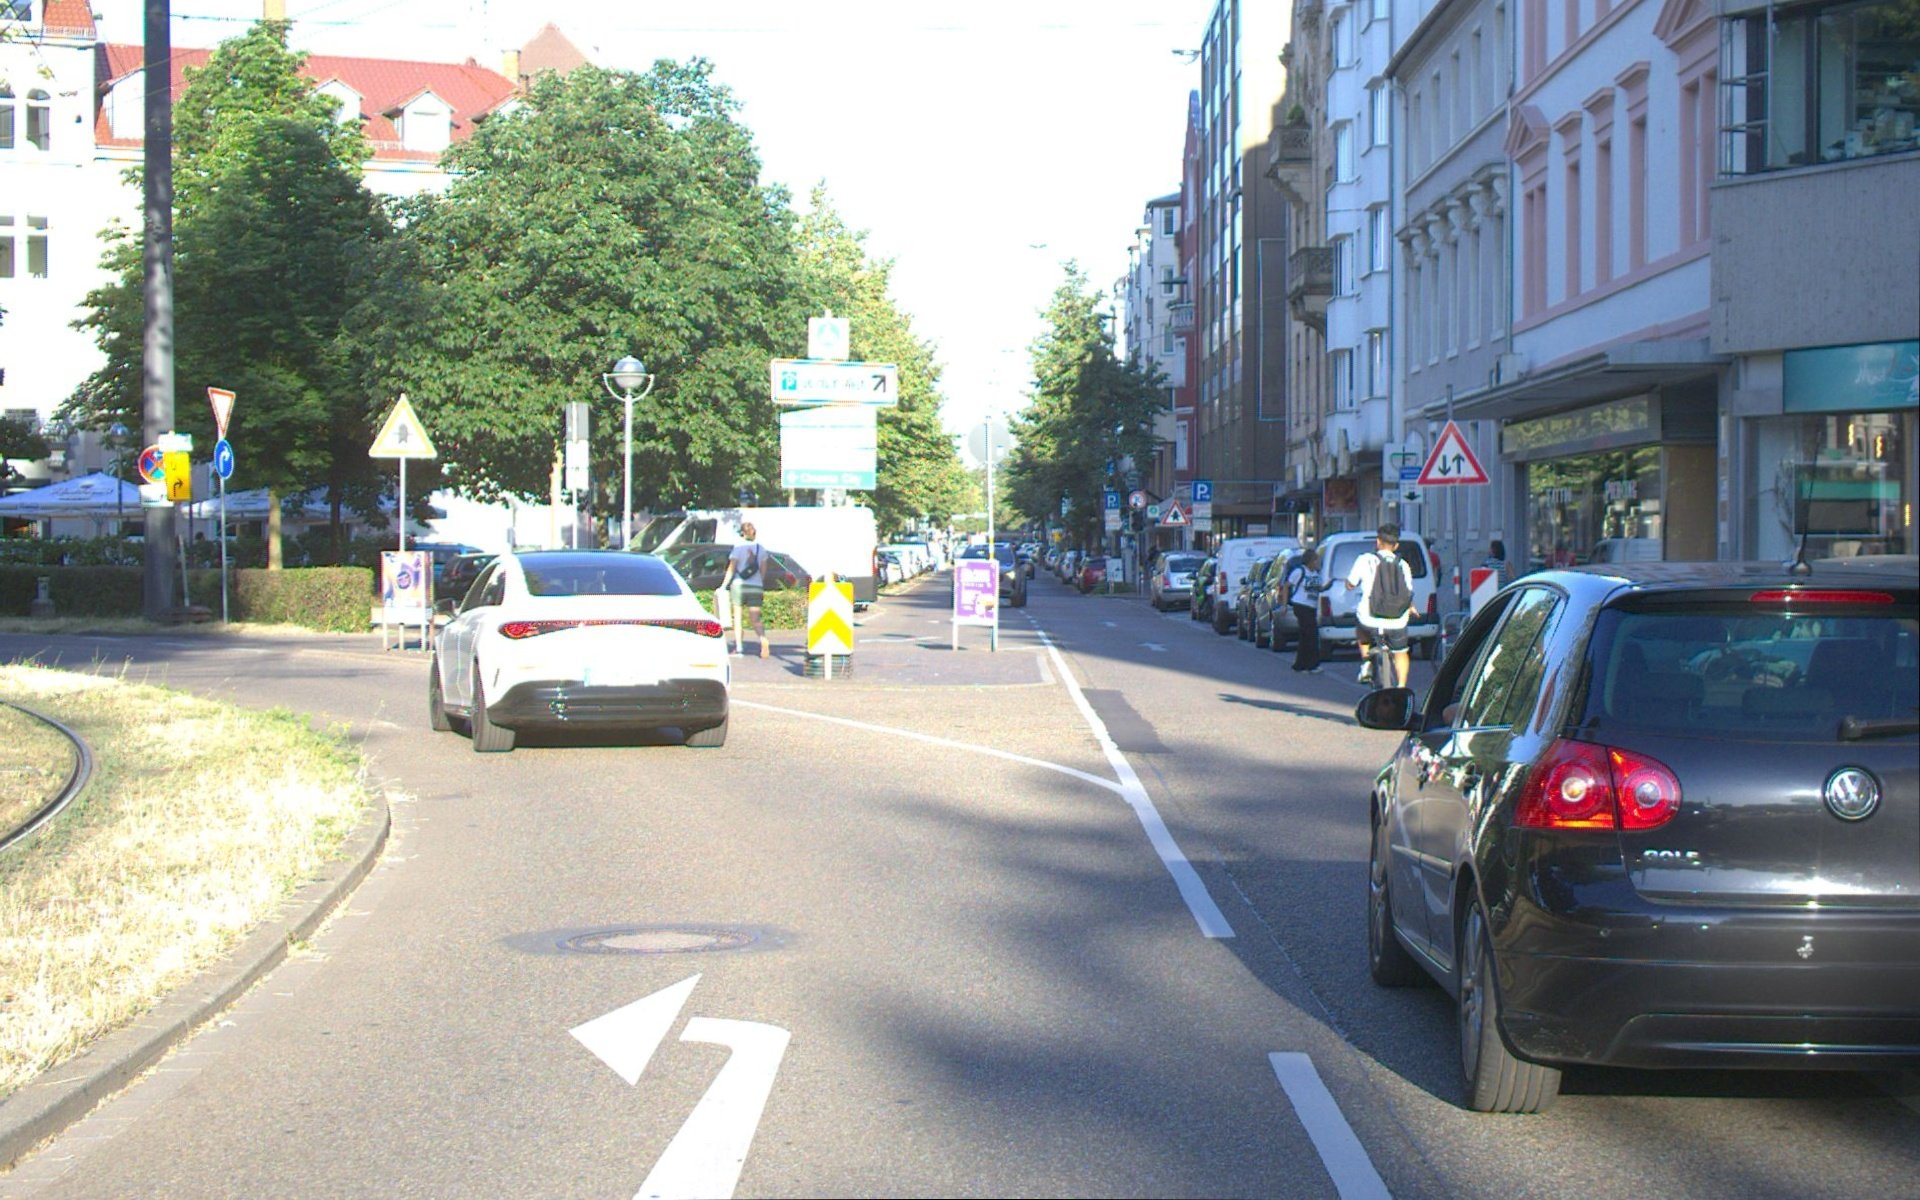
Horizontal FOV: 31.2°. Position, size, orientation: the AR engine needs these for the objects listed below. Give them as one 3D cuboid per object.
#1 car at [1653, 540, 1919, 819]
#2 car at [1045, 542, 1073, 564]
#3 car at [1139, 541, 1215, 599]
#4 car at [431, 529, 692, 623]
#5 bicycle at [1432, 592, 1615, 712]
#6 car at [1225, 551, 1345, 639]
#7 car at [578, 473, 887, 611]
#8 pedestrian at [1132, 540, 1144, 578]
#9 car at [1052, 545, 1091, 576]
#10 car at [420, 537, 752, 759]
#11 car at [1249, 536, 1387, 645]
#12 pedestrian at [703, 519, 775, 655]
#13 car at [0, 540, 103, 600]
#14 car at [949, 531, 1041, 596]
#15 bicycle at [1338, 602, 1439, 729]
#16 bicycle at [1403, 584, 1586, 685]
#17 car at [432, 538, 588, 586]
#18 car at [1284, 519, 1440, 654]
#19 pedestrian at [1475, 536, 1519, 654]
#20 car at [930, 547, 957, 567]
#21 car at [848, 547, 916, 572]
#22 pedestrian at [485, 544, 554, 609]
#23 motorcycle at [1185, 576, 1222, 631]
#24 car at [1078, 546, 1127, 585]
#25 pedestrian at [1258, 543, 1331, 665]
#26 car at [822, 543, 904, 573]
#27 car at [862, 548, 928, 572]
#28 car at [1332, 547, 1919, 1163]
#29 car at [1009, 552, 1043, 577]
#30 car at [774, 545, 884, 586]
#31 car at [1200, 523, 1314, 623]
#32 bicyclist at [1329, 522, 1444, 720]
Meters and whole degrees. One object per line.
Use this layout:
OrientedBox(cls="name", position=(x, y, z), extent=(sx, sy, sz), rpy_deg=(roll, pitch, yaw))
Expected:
OrientedBox(cls="car", position=(5.461, 0.392, 20.422), extent=(1.662, 1.436, 3.824), rpy_deg=(-2, 1, -3))
OrientedBox(cls="car", position=(7.067, -3.361, 245.582), extent=(1.752, 1.505, 3.545), rpy_deg=(-1, 1, -1))
OrientedBox(cls="car", position=(5.838, -0.817, 92.774), extent=(1.752, 1.505, 3.545), rpy_deg=(-1, 1, -1))
OrientedBox(cls="car", position=(-6.782, -0.410, 58.550), extent=(3.987, 1.546, 1.879), rpy_deg=(0, 1, -32))
OrientedBox(cls="bicycle", position=(5.453, 0.501, 33.291), extent=(1.605, 1.115, 0.611), rpy_deg=(-1, 2, 34))
OrientedBox(cls="car", position=(5.660, -0.106, 60.136), extent=(1.734, 1.457, 3.585), rpy_deg=(-1, 1, 0))
OrientedBox(cls="car", position=(-4.376, -1.097, 66.248), extent=(5.510, 2.586, 2.155), rpy_deg=(0, 1, -26))
OrientedBox(cls="pedestrian", position=(9.029, -2.097, 174.397), extent=(0.531, 1.917, 0.542), rpy_deg=(1, 1, -1))
OrientedBox(cls="car", position=(5.567, -2.003, 172.508), extent=(1.752, 1.505, 3.545), rpy_deg=(-1, 1, -1))
OrientedBox(cls="car", position=(-2.926, 0.293, 26.128), extent=(1.864, 1.436, 4.199), rpy_deg=(-1, 2, -15))
OrientedBox(cls="car", position=(5.601, -0.172, 54.150), extent=(1.734, 1.611, 3.917), rpy_deg=(-1, 1, 0))
OrientedBox(cls="pedestrian", position=(-2.825, -0.169, 43.877), extent=(0.859, 1.700, 0.941), rpy_deg=(1, 1, -6))
OrientedBox(cls="car", position=(-24.685, -0.799, 91.137), extent=(3.612, 1.546, 1.663), rpy_deg=(0, 1, -22))
OrientedBox(cls="car", position=(1.011, -1.048, 96.544), extent=(1.994, 1.766, 3.999), rpy_deg=(1, 2, 9))
OrientedBox(cls="bicycle", position=(3.580, 0.532, 28.835), extent=(0.579, 0.984, 1.936), rpy_deg=(1, 1, 0))
OrientedBox(cls="bicycle", position=(5.790, 0.375, 37.260), extent=(1.850, 1.042, 0.580), rpy_deg=(-1, 2, 31))
OrientedBox(cls="car", position=(-12.652, -1.074, 96.687), extent=(3.986, 1.297, 1.853), rpy_deg=(0, 1, -22))
OrientedBox(cls="car", position=(5.651, -0.212, 48.716), extent=(1.734, 1.794, 3.917), rpy_deg=(-1, 1, 0))
OrientedBox(cls="pedestrian", position=(7.472, -0.075, 47.865), extent=(0.502, 1.619, 0.496), rpy_deg=(1, 1, 0))
OrientedBox(cls="car", position=(-1.117, -2.944, 234.669), extent=(1.667, 1.283, 3.389), rpy_deg=(1, 1, 2))
OrientedBox(cls="car", position=(-4.255, -2.214, 187.575), extent=(3.377, 1.283, 1.673), rpy_deg=(1, 1, -15))
OrientedBox(cls="pedestrian", position=(-8.577, -0.456, 66.878), extent=(1.097, 1.222, 0.860), rpy_deg=(1, 1, -25))
OrientedBox(cls="motorcycle", position=(5.363, 0.072, 75.832), extent=(0.486, 1.170, 1.607), rpy_deg=(-2, 2, -7))
OrientedBox(cls="car", position=(5.785, -1.419, 140.035), extent=(1.752, 1.505, 3.545), rpy_deg=(-1, 1, -1))
OrientedBox(cls="pedestrian", position=(4.290, 0.043, 44.115), extent=(0.737, 1.549, 0.631), rpy_deg=(1, 1, 27))
OrientedBox(cls="car", position=(-4.408, -1.920, 156.261), extent=(3.377, 1.283, 1.673), rpy_deg=(1, 1, -15))
OrientedBox(cls="car", position=(-3.700, -2.279, 195.452), extent=(3.377, 1.283, 1.673), rpy_deg=(1, 1, -15))
OrientedBox(cls="car", position=(2.174, 0.587, 10.326), extent=(1.747, 1.456, 4.103), rpy_deg=(1, 1, 1))
OrientedBox(cls="car", position=(3.621, -1.949, 189.719), extent=(1.667, 1.283, 3.389), rpy_deg=(1, 1, -2))
OrientedBox(cls="car", position=(-4.386, -1.153, 115.211), extent=(3.377, 1.283, 1.673), rpy_deg=(1, 1, -15))
OrientedBox(cls="car", position=(5.723, -0.544, 66.710), extent=(1.925, 1.835, 4.017), rpy_deg=(-1, 1, 1))
OrientedBox(cls="bicyclist", position=(3.561, 0.162, 28.775), extent=(0.777, 1.613, 1.025), rpy_deg=(1, 1, -1))
